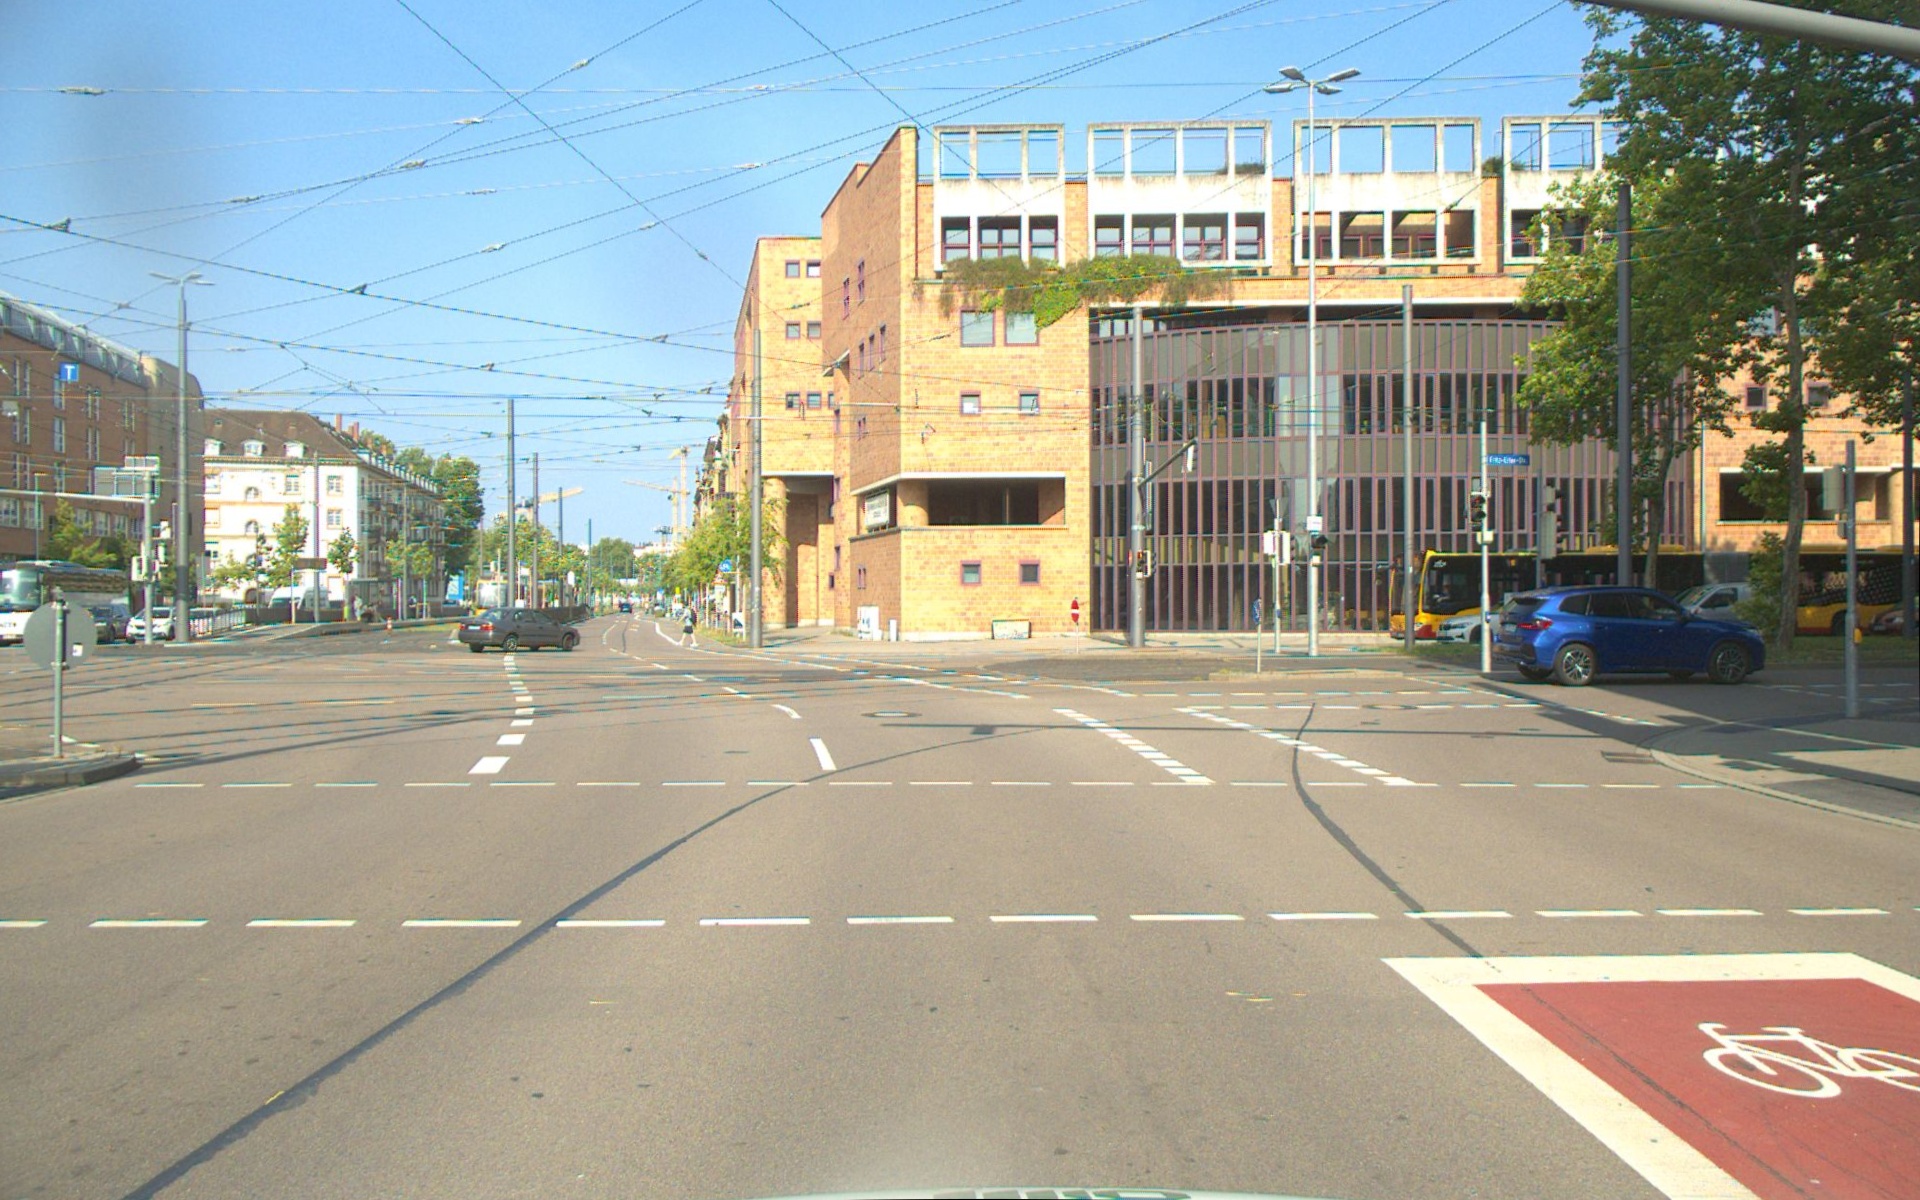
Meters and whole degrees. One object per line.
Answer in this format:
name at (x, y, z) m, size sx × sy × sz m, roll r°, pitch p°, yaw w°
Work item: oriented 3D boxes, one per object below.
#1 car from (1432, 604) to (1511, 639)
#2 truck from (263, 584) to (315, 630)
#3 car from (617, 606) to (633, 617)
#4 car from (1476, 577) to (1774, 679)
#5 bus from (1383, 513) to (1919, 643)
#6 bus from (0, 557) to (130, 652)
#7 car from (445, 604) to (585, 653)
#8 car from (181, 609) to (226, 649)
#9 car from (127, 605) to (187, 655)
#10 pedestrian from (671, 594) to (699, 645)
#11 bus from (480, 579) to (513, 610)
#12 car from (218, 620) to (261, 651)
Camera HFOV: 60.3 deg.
car at (14.685, 0.623, 47.497) m, size 1.912 × 0.975 × 1.093 m, roll 0°, pitch 0°, yaw -1°
truck at (-39.821, 0.460, 98.295) m, size 1.958 × 2.644 × 4.726 m, roll 0°, pitch -1°, yaw -11°
car at (-51.181, 1.769, 252.744) m, size 2.040 × 1.569 × 4.393 m, roll 0°, pitch -1°, yaw -17°
car at (11.356, 0.481, 28.399) m, size 4.316 × 1.664 × 1.989 m, roll 0°, pitch -1°, yaw -8°
bus at (22.133, -0.653, 52.183) m, size 17.284 × 3.877 × 2.859 m, roll 0°, pitch -2°, yaw -9°
bus at (-41.054, 0.325, 75.312) m, size 2.698 × 3.990 × 12.180 m, roll 0°, pitch -1°, yaw -12°
car at (-14.296, 0.938, 53.353) m, size 1.956 × 1.513 × 4.212 m, roll -1°, pitch -2°, yaw 30°
car at (-34.982, 1.362, 76.523) m, size 1.186 × 1.791 × 2.604 m, roll 0°, pitch -1°, yaw -8°
car at (-33.938, 1.283, 69.963) m, size 1.572 × 2.049 × 2.723 m, roll 0°, pitch -1°, yaw -10°
pedestrian at (-11.033, 0.786, 66.356) m, size 0.823 × 2.049 × 0.811 m, roll 0°, pitch 0°, yaw 15°
bus at (-31.191, -0.361, 111.409) m, size 1.959 × 2.049 × 3.986 m, roll 0°, pitch 0°, yaw -13°
car at (-35.853, 1.777, 82.372) m, size 1.365 × 1.506 × 2.735 m, roll 0°, pitch -1°, yaw -10°
